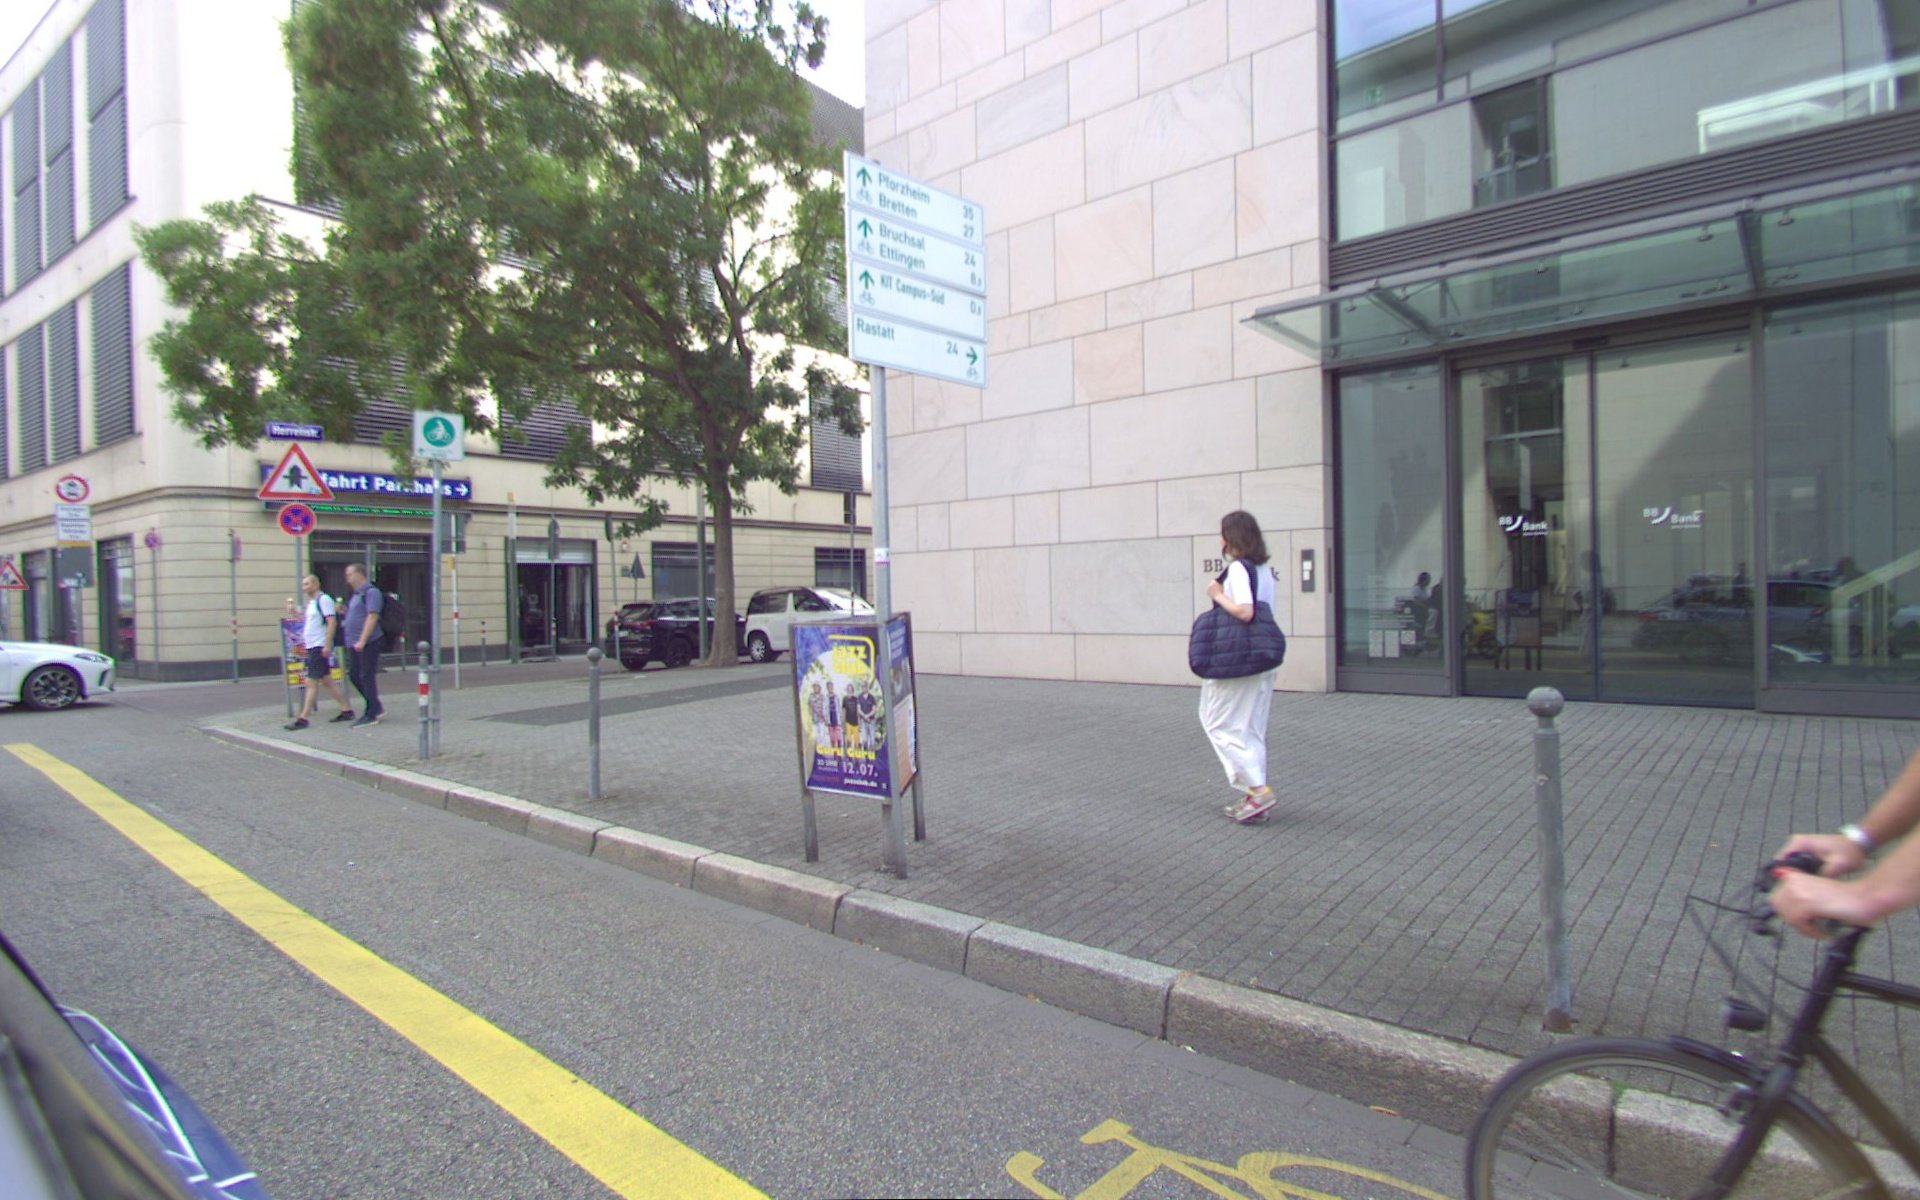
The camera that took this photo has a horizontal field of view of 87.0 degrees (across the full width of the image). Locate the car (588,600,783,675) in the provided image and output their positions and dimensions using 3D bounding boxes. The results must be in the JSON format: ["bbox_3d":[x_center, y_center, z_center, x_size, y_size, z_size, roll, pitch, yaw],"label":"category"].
[{"bbox_3d":[-6.558,0.869,24.565,1.813,1.613,4.310,-3,-2,38],"label":"car"}]

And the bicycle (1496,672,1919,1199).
[{"bbox_3d":[1.846,0.763,1.325,1.950,1.250,0.641,-1,-2,38],"label":"bicycle"}]

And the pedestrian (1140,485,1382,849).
[{"bbox_3d":[1.608,0.292,5.379,0.909,1.721,0.868,-1,4,40],"label":"pedestrian"}]

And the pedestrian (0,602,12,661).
[{"bbox_3d":[-29.571,0.989,30.671,1.057,1.778,0.883,-1,3,33],"label":"pedestrian"}]

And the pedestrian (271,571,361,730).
[{"bbox_3d":[-7.486,0.567,11.775,0.651,1.778,0.637,-2,-1,29],"label":"pedestrian"}]

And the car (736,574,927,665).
[{"bbox_3d":[-2.898,0.459,22.471,3.957,1.706,1.876,-5,-3,37],"label":"car"}]

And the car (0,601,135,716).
[{"bbox_3d":[-14.533,0.845,14.198,1.813,1.593,4.310,-1,0,38],"label":"car"}]

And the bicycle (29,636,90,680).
[{"bbox_3d":[-23.415,1.489,26.295,2.539,1.052,0.684,-1,0,37],"label":"bicycle"}]

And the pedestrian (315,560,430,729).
[{"bbox_3d":[-6.703,0.488,11.565,0.753,1.827,0.738,-2,3,29],"label":"pedestrian"}]

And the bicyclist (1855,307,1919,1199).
[{"bbox_3d":[1.848,0.440,1.328,0.938,1.666,0.637,-1,-2,37],"label":"bicyclist"}]
